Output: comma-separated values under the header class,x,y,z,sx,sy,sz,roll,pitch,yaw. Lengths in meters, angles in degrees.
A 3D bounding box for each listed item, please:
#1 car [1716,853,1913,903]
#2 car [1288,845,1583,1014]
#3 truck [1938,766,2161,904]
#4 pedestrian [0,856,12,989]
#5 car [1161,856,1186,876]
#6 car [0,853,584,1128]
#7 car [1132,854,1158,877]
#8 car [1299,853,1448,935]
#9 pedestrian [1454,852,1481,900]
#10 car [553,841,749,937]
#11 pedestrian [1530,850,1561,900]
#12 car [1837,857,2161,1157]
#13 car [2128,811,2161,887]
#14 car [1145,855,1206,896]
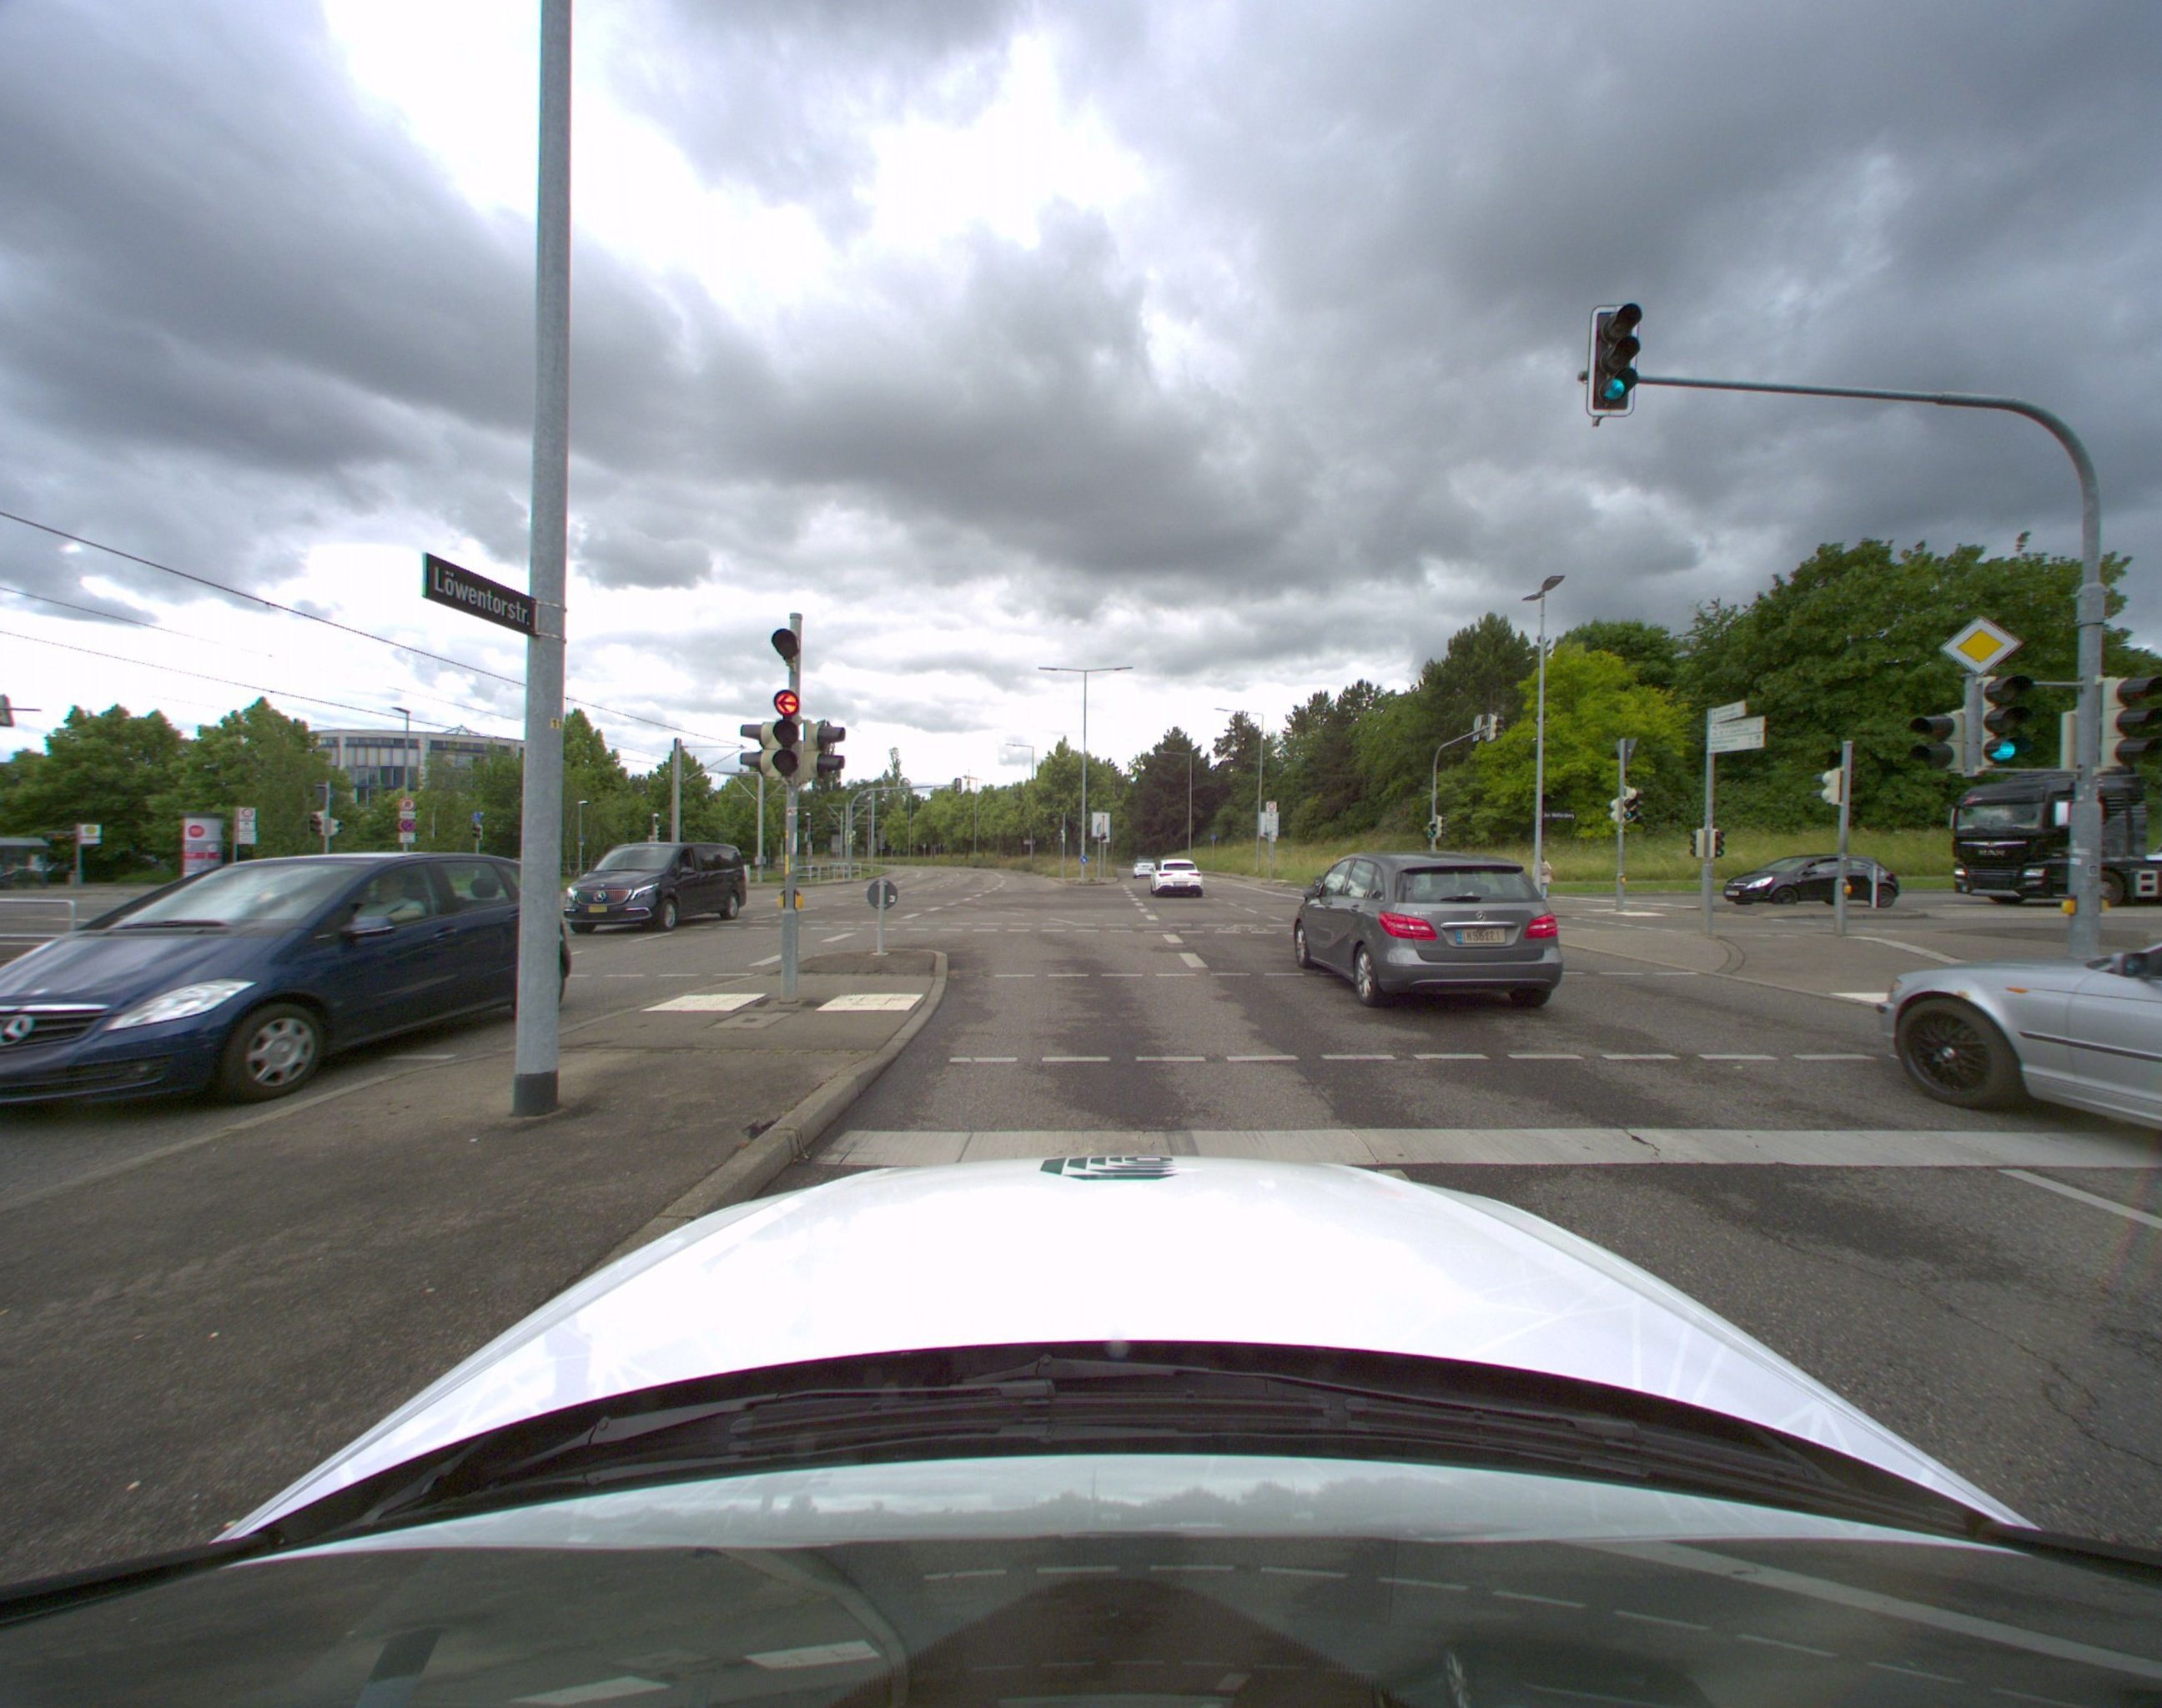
class,x,y,z,sx,sy,sz,roll,pitch,yaw
car,20.346,0.660,22.714,3.859,1.338,1.698,0,-1,4
car,3.683,0.680,9.296,1.740,1.508,4.002,0,0,2
truck,28.014,-0.509,22.316,5.971,3.486,2.694,-1,-1,4
pedestrian,-12.831,0.790,9.157,0.632,1.536,0.719,0,-1,-2
car,7.070,0.895,62.550,1.607,1.453,3.883,0,-1,2
car,-5.899,0.762,6.377,1.730,1.508,3.660,0,0,0
car,4.404,0.809,56.137,1.587,1.516,2.766,0,-1,0
car,6.038,0.739,17.372,1.740,1.485,4.358,0,1,2
pedestrian,13.444,0.768,28.337,0.640,1.662,0.715,-1,-1,8
car,-9.322,0.679,18.244,1.883,1.812,5.087,-1,0,-3
pedestrian,15.262,0.688,26.770,0.640,1.612,0.715,0,-1,7
car,5.937,0.730,3.372,1.740,1.382,4.292,0,0,2
car,40.369,-0.189,28.029,5.780,2.630,2.002,0,-1,3
car,3.630,0.809,32.013,1.838,1.506,4.530,0,-1,0
